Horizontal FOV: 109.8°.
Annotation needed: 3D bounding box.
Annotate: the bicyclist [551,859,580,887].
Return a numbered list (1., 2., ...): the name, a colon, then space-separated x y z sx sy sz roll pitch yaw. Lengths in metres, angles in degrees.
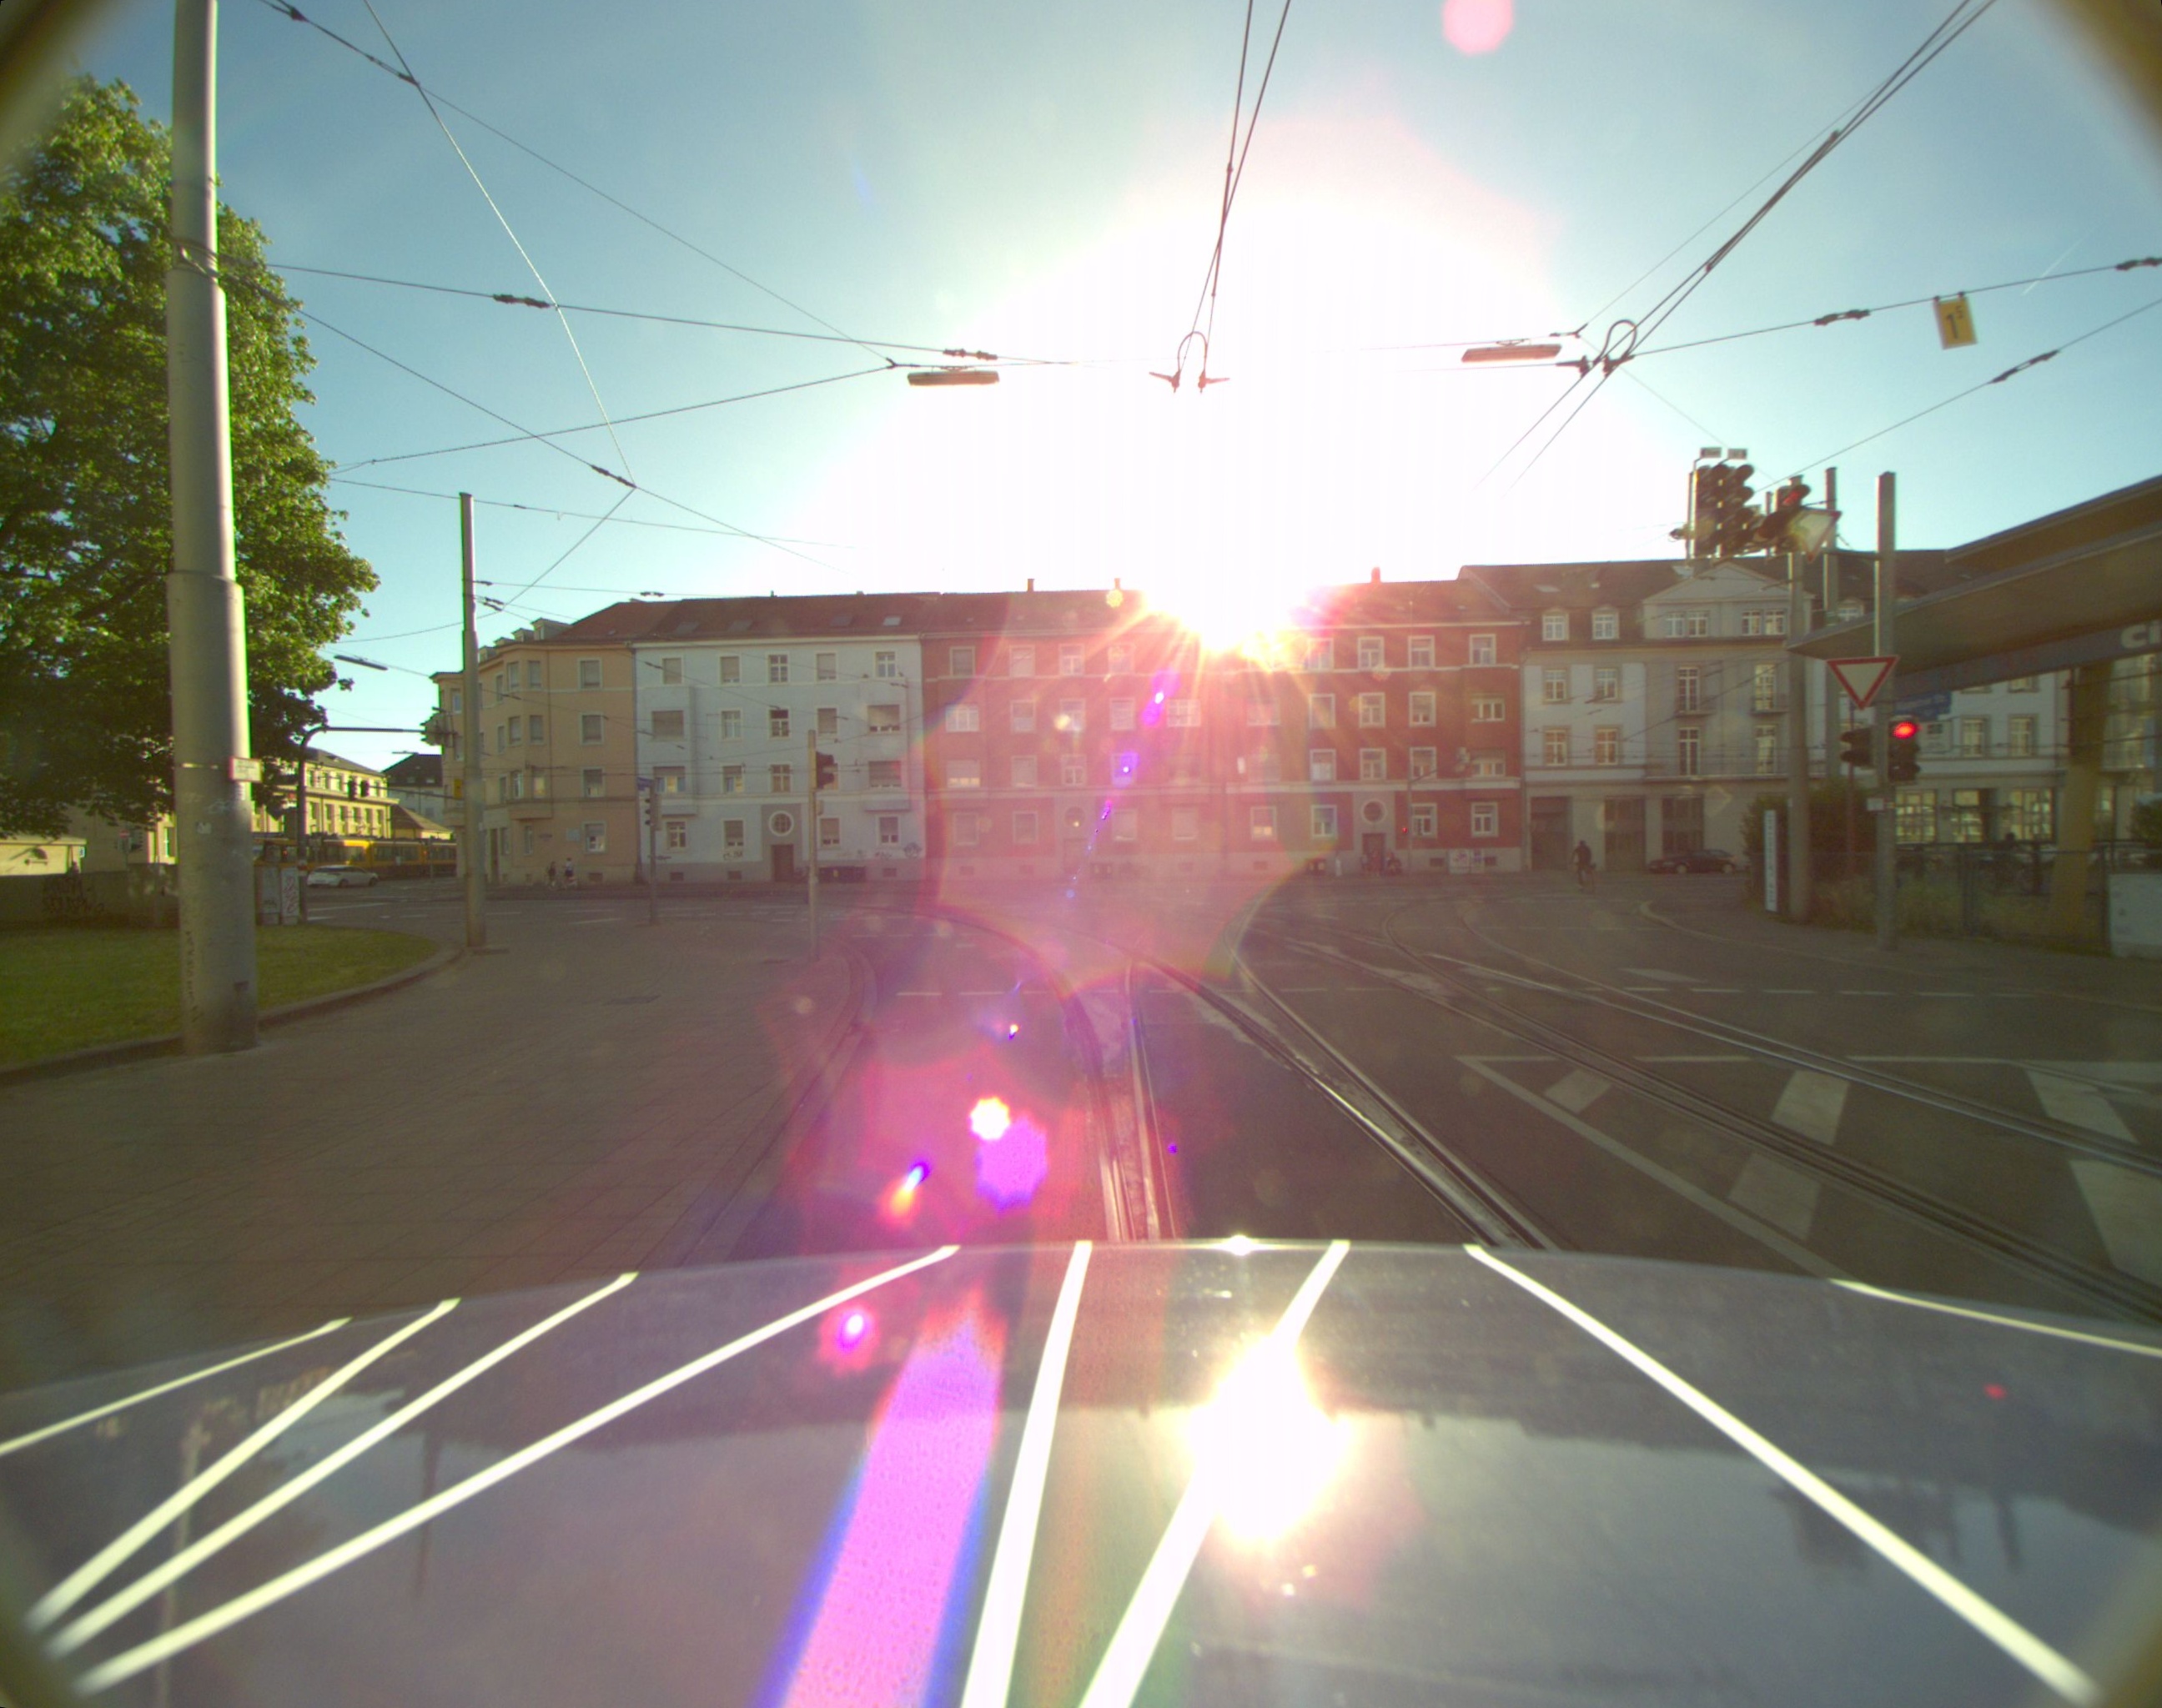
1. bicyclist: -29.999 1.098 44.256 1.125 1.633 0.749 -1 1 2

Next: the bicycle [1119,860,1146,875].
1. bicycle: 3.081 0.826 45.839 1.602 0.885 0.335 -1 1 6

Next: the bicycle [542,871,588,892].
1. bicycle: -30.054 1.589 44.268 2.150 1.184 0.749 -1 1 2

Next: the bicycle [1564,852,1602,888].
1. bicycle: 16.554 0.512 25.091 0.894 1.119 2.069 -1 1 29

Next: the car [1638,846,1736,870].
1. car: 33.583 0.205 42.186 3.996 1.225 1.725 -1 0 1

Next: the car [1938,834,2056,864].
1. car: 50.882 -0.251 42.258 4.270 1.543 1.841 -1 0 1

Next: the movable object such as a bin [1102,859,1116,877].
1. movable object such as a bin: 1.682 0.819 45.691 0.811 1.034 0.845 -1 1 -3

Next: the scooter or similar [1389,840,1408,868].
1. scooter or similar: 18.681 -0.018 44.725 0.796 1.624 0.653 -2 1 -31

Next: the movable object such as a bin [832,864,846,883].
1. movable object such as a bin: -14.723 1.167 46.210 0.582 1.100 0.704 -1 1 1

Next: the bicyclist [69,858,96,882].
1. bicyclist: -67.478 1.074 51.350 0.678 1.630 0.937 -2 2 -25

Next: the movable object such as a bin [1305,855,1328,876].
1. movable object such as a bin: 14.097 0.690 45.506 1.232 1.242 0.874 -1 0 8

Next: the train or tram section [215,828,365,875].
1. train or tram section: -61.892 -0.218 60.042 3.170 3.302 11.797 -1 1 -20

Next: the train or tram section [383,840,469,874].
1. train or tram section: -69.239 0.159 80.715 3.169 3.337 10.829 -1 2 -20

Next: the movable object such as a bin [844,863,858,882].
1. movable object such as a bin: -13.952 1.138 46.163 0.582 1.100 0.704 -1 1 1

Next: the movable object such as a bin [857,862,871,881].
1. movable object such as a bin: -13.170 1.074 46.089 0.582 1.100 0.704 -1 1 1

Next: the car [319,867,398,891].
1. car: -48.035 1.614 50.633 1.792 1.386 4.101 -1 0 -10

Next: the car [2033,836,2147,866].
1. car: 56.020 -0.172 42.227 3.996 1.543 1.725 -1 0 1

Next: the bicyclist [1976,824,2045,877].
1. bicyclist: 27.491 -0.108 22.494 0.993 1.516 0.837 -1 1 4

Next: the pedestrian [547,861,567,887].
1. pedestrian: -31.956 1.229 46.329 0.719 1.554 0.677 -1 1 3

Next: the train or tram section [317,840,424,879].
1. train or tram section: -65.635 0.347 70.605 3.169 3.337 10.660 -1 2 -20

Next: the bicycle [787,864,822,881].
1. bicycle: -16.820 1.131 46.248 1.875 0.974 0.607 -1 2 1

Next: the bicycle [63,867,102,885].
1. bicycle: -67.463 1.471 51.375 0.686 1.130 2.069 -2 2 -25

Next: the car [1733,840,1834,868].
1. car: 39.169 0.001 42.435 3.996 1.443 1.725 -1 0 1

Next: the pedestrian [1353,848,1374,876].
1. pedestrian: 16.753 0.488 45.043 0.797 1.624 0.829 -2 1 -36

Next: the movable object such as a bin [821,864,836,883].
1. movable object such as a bin: -15.371 1.165 46.218 0.648 1.100 0.704 -1 1 1

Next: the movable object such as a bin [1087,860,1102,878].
1. movable object such as a bin: 0.808 0.879 45.667 0.811 1.034 0.845 -1 1 -3

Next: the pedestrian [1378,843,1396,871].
1. pedestrian: 18.180 0.176 45.173 0.796 1.624 0.653 -2 1 -31

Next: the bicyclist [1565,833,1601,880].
1. bicyclist: 16.492 0.078 24.987 0.877 1.517 1.053 -1 1 28

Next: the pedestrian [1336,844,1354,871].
1. pedestrian: 15.651 0.203 45.020 0.655 1.624 0.794 -1 1 -20

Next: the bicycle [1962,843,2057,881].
1. bicycle: 27.478 0.239 22.496 1.869 1.080 0.773 -1 1 0
